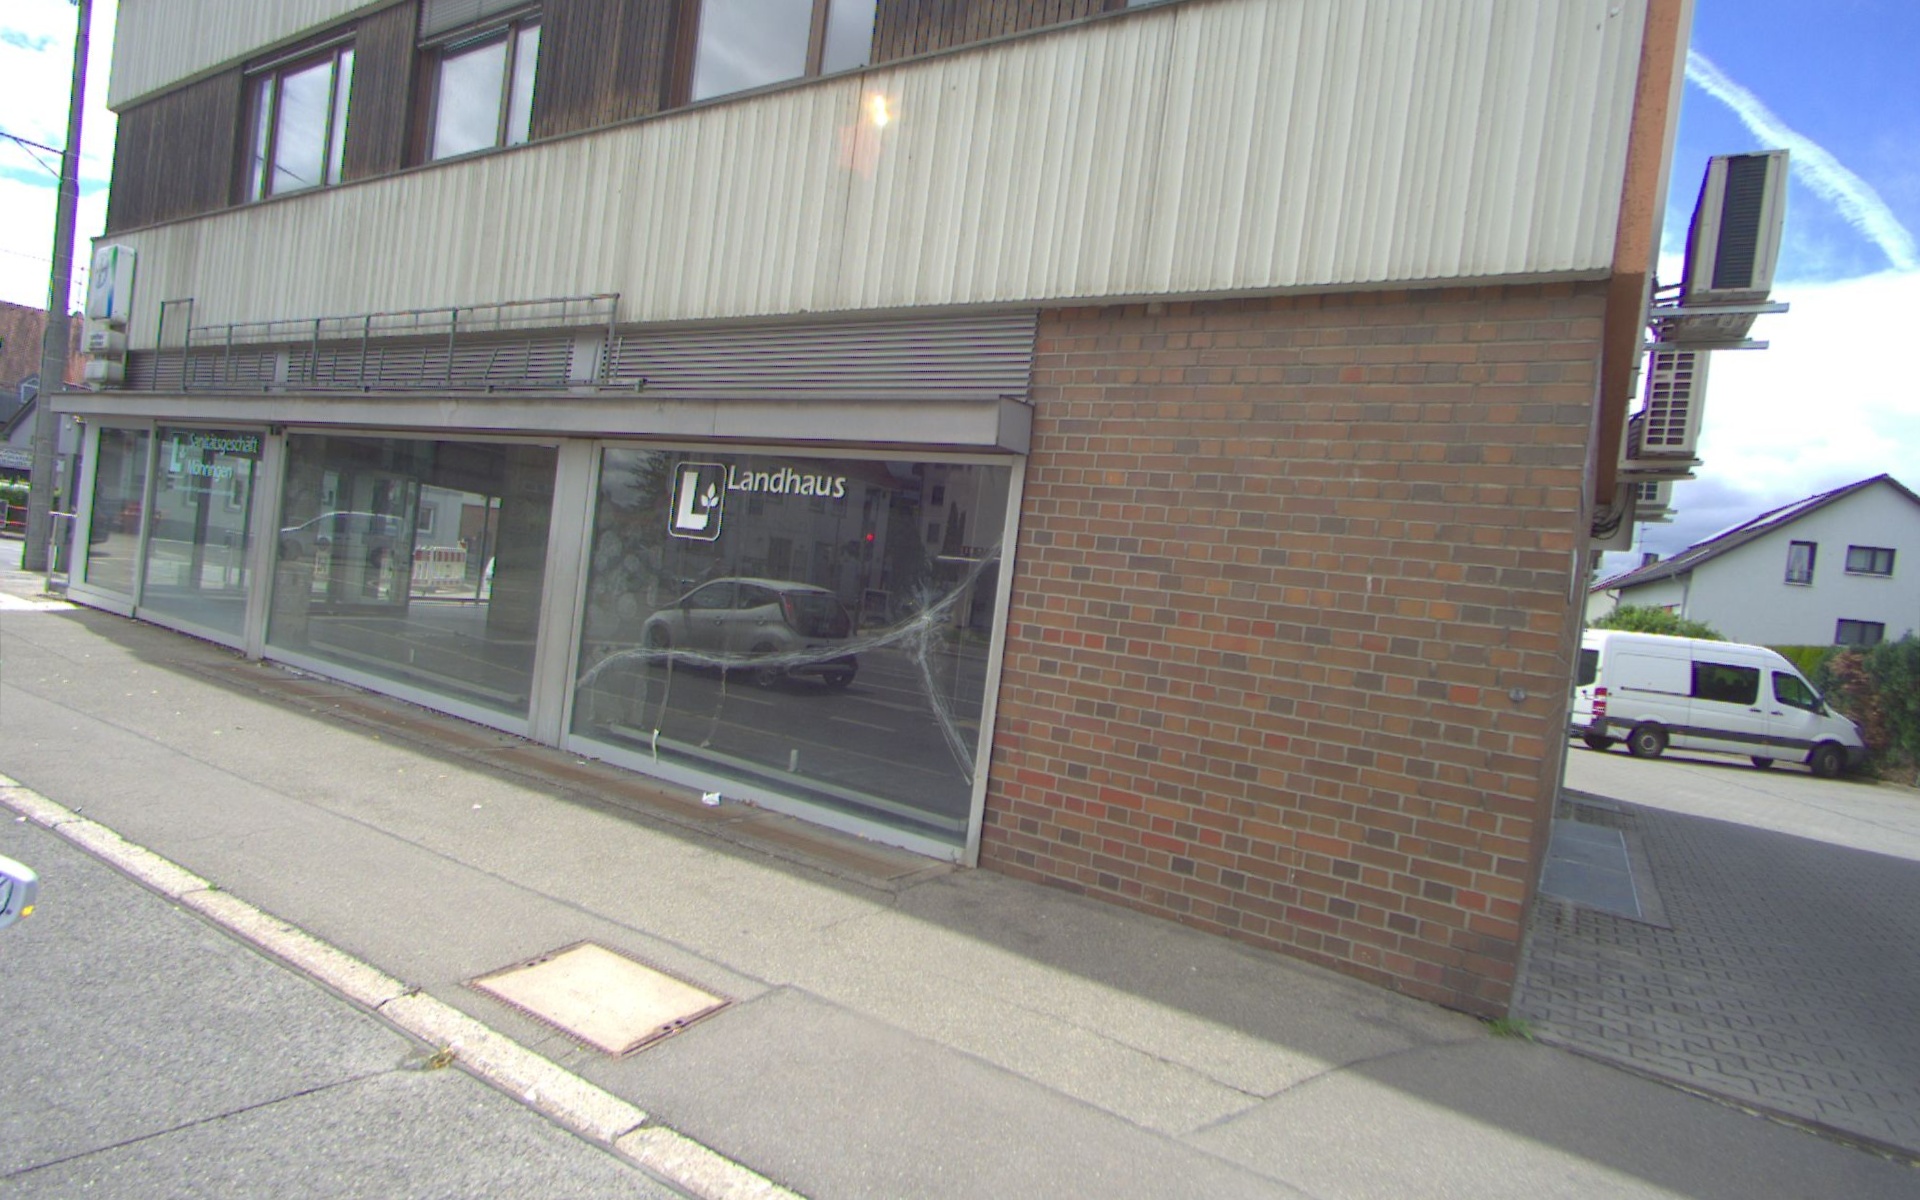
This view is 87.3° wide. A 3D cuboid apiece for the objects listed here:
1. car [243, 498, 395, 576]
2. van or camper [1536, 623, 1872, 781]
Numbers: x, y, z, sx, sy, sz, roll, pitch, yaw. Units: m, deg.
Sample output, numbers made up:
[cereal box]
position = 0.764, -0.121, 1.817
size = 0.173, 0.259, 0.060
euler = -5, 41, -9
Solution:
[car]
position = -21.080, -2.040, 33.221
size = 3.962, 1.859, 1.983
euler = 9, -2, -33
[van or camper]
position = 16.019, 2.141, 21.925
size = 5.409, 2.574, 2.058
euler = 7, 1, 4
